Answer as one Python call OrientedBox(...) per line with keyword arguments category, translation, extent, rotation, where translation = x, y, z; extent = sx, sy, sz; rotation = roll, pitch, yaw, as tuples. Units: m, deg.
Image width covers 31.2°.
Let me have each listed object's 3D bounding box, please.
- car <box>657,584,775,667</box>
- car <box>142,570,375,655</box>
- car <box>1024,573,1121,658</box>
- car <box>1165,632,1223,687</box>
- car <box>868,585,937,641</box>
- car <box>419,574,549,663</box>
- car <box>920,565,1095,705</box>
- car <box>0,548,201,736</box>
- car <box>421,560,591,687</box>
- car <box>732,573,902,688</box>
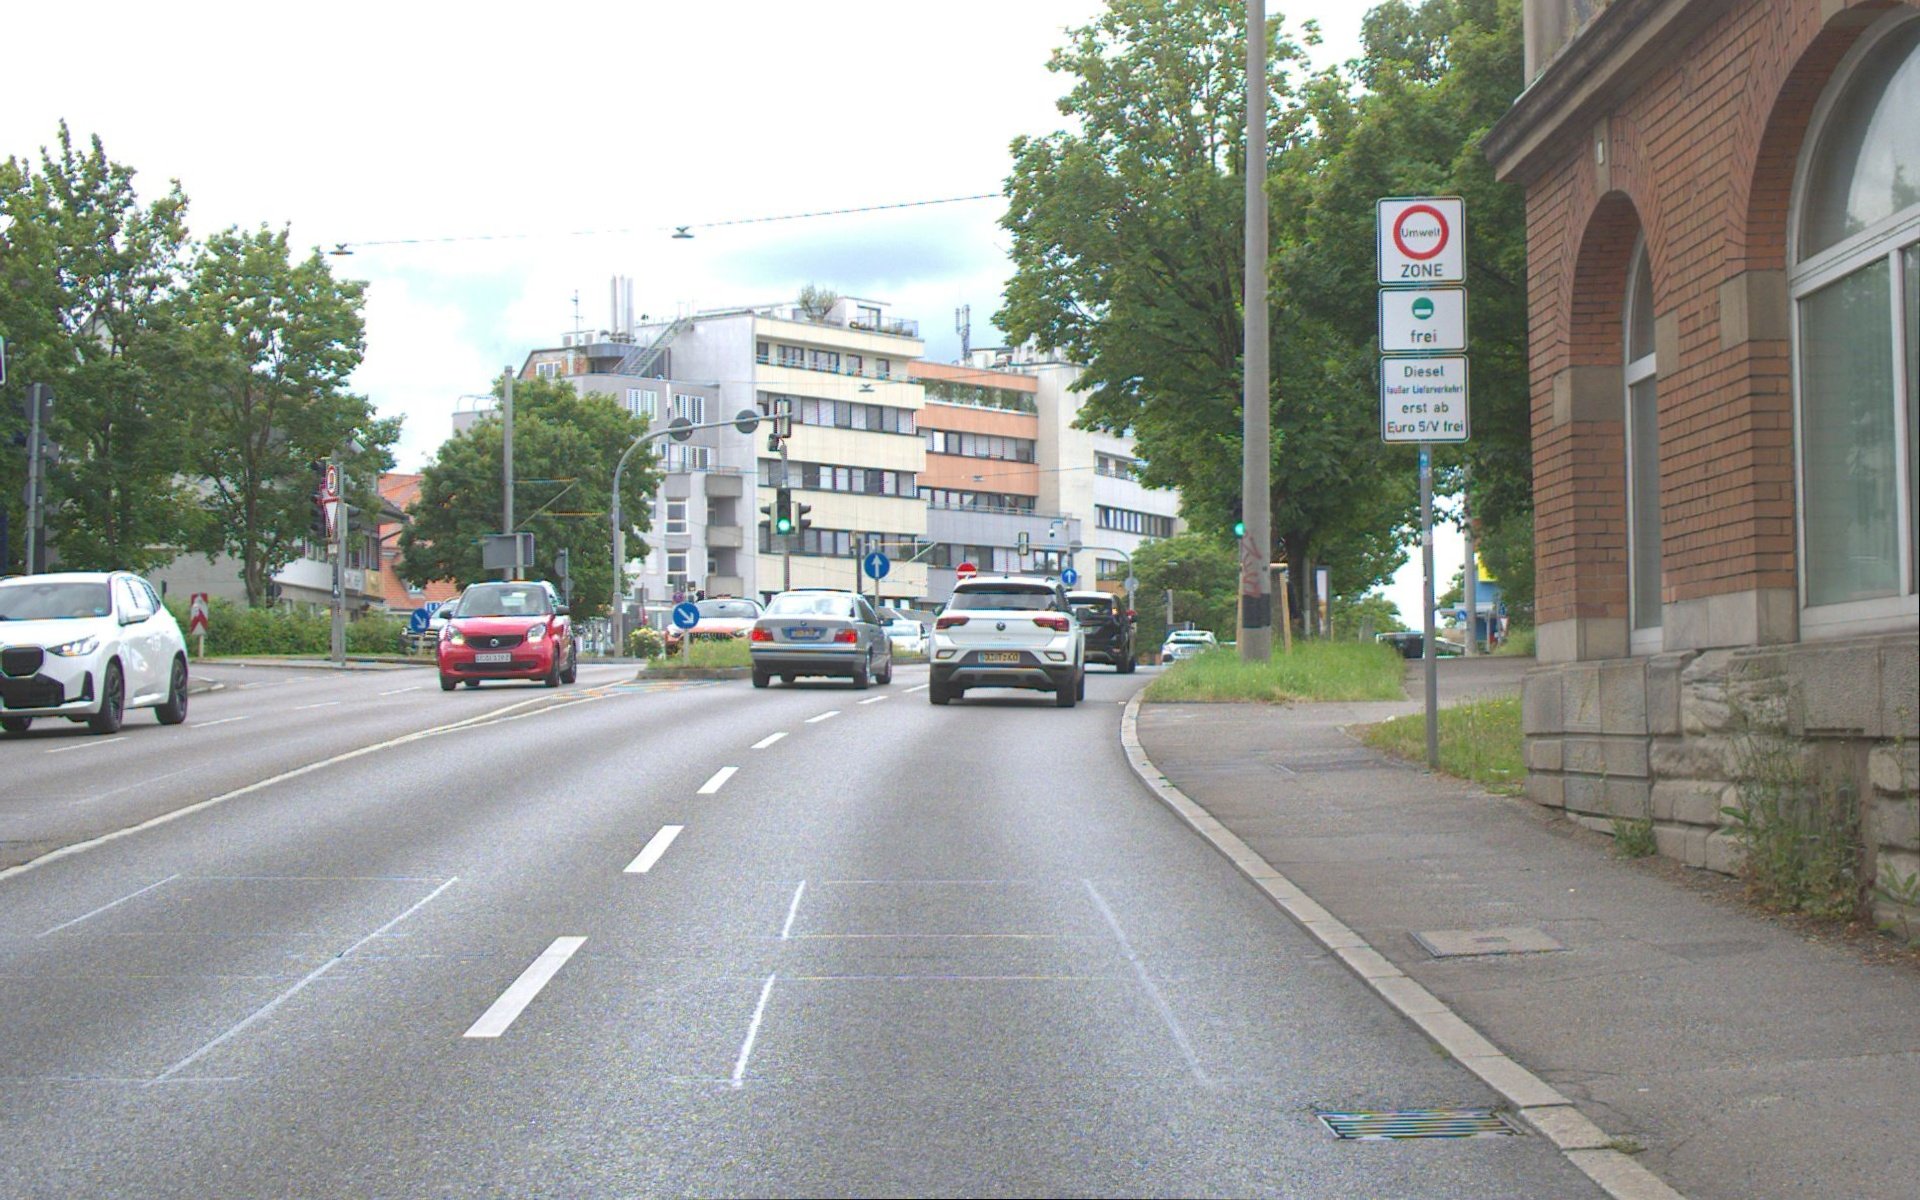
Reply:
OrientedBox(category="car", translation=(-5.083, 0.517, 72.044), extent=(1.771, 1.565, 4.284), rotation=(-3, 1, 5))
OrientedBox(category="car", translation=(-13.128, 0.230, 64.486), extent=(1.780, 1.539, 3.990), rotation=(0, 0, 43))
OrientedBox(category="car", translation=(2.052, 0.303, 63.565), extent=(1.700, 1.511, 3.493), rotation=(0, -1, 0))
OrientedBox(category="car", translation=(7.299, 1.843, 107.489), extent=(1.770, 1.565, 4.284), rotation=(0, 1, 4))
OrientedBox(category="car", translation=(-1.647, 0.364, 99.415), extent=(1.777, 1.560, 4.000), rotation=(0, 0, 2))
OrientedBox(category="car", translation=(-8.689, 0.308, 63.030), extent=(1.747, 1.489, 4.207), rotation=(-3, 1, 0))
OrientedBox(category="car", translation=(0.631, 0.392, 42.580), extent=(1.700, 1.543, 3.735), rotation=(3, 1, 7))
OrientedBox(category="car", translation=(-9.345, 0.401, 35.665), extent=(1.869, 1.783, 4.654), rotation=(-3, 1, 0))
OrientedBox(category="car", translation=(-6.597, 0.298, 50.368), extent=(1.869, 1.696, 4.429), rotation=(-3, 1, 0))
OrientedBox(category="car", translation=(-1.996, 0.404, 48.924), extent=(1.700, 1.511, 3.735), rotation=(0, 1, 9))
